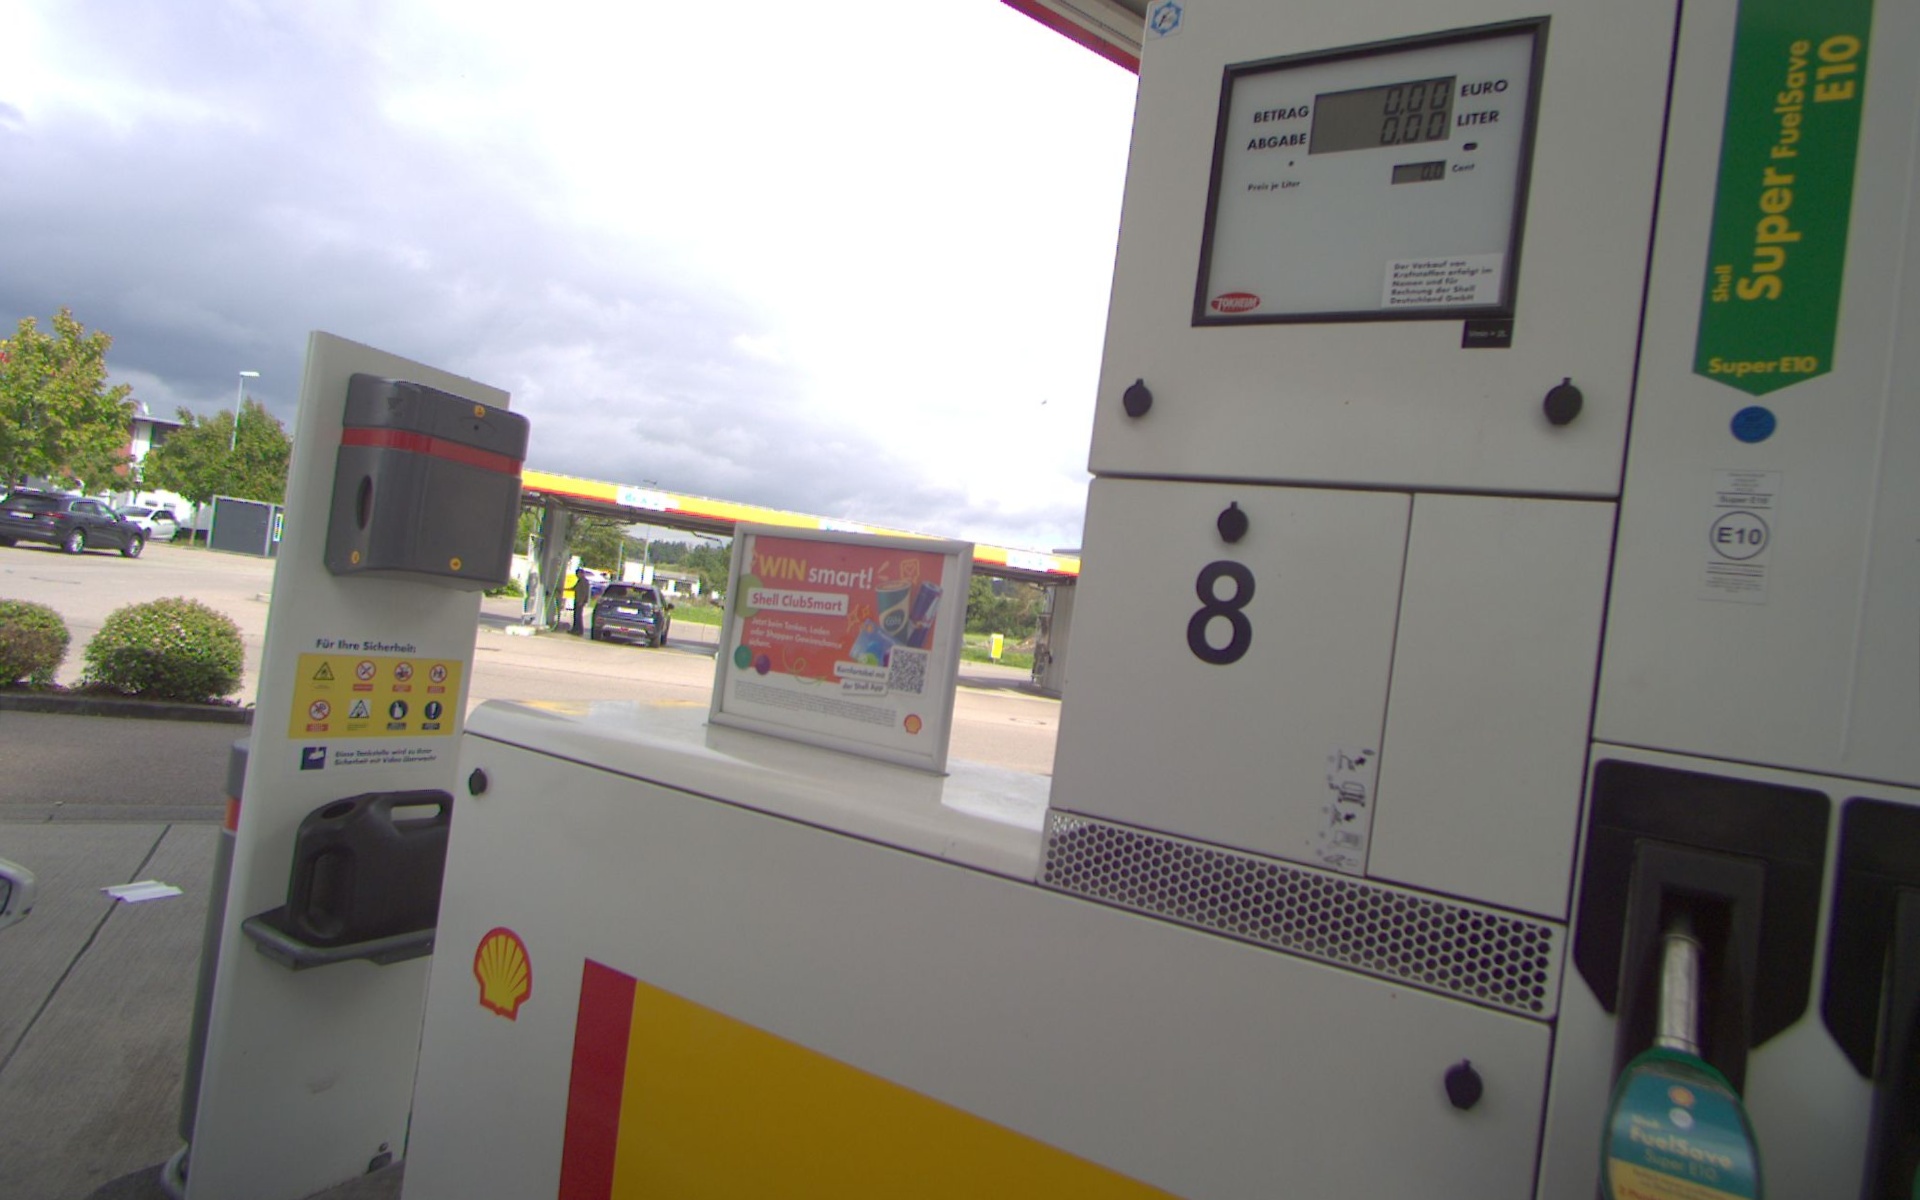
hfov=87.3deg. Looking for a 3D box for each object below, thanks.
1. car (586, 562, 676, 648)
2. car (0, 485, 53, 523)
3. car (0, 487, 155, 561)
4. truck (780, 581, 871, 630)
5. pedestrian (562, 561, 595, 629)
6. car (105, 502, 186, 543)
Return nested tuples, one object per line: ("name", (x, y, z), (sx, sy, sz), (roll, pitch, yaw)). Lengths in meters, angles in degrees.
("car", (-8.697, 0.151, 26.860), (1.696, 1.919, 3.800), (8, -2, -12))
("car", (-57.363, -5.903, 60.235), (2.149, 1.854, 4.870), (8, -2, -11))
("car", (-25.929, -2.167, 29.256), (1.855, 1.566, 4.498), (8, -2, -10))
("truck", (-13.022, 0.556, 97.504), (7.978, 3.575, 2.687), (8, -2, -19))
("pedestrian", (-10.131, -0.125, 26.720), (0.549, 1.742, 0.527), (7, -1, -15))
("car", (-35.260, -3.339, 43.641), (1.346, 1.322, 3.098), (8, -2, -12))
